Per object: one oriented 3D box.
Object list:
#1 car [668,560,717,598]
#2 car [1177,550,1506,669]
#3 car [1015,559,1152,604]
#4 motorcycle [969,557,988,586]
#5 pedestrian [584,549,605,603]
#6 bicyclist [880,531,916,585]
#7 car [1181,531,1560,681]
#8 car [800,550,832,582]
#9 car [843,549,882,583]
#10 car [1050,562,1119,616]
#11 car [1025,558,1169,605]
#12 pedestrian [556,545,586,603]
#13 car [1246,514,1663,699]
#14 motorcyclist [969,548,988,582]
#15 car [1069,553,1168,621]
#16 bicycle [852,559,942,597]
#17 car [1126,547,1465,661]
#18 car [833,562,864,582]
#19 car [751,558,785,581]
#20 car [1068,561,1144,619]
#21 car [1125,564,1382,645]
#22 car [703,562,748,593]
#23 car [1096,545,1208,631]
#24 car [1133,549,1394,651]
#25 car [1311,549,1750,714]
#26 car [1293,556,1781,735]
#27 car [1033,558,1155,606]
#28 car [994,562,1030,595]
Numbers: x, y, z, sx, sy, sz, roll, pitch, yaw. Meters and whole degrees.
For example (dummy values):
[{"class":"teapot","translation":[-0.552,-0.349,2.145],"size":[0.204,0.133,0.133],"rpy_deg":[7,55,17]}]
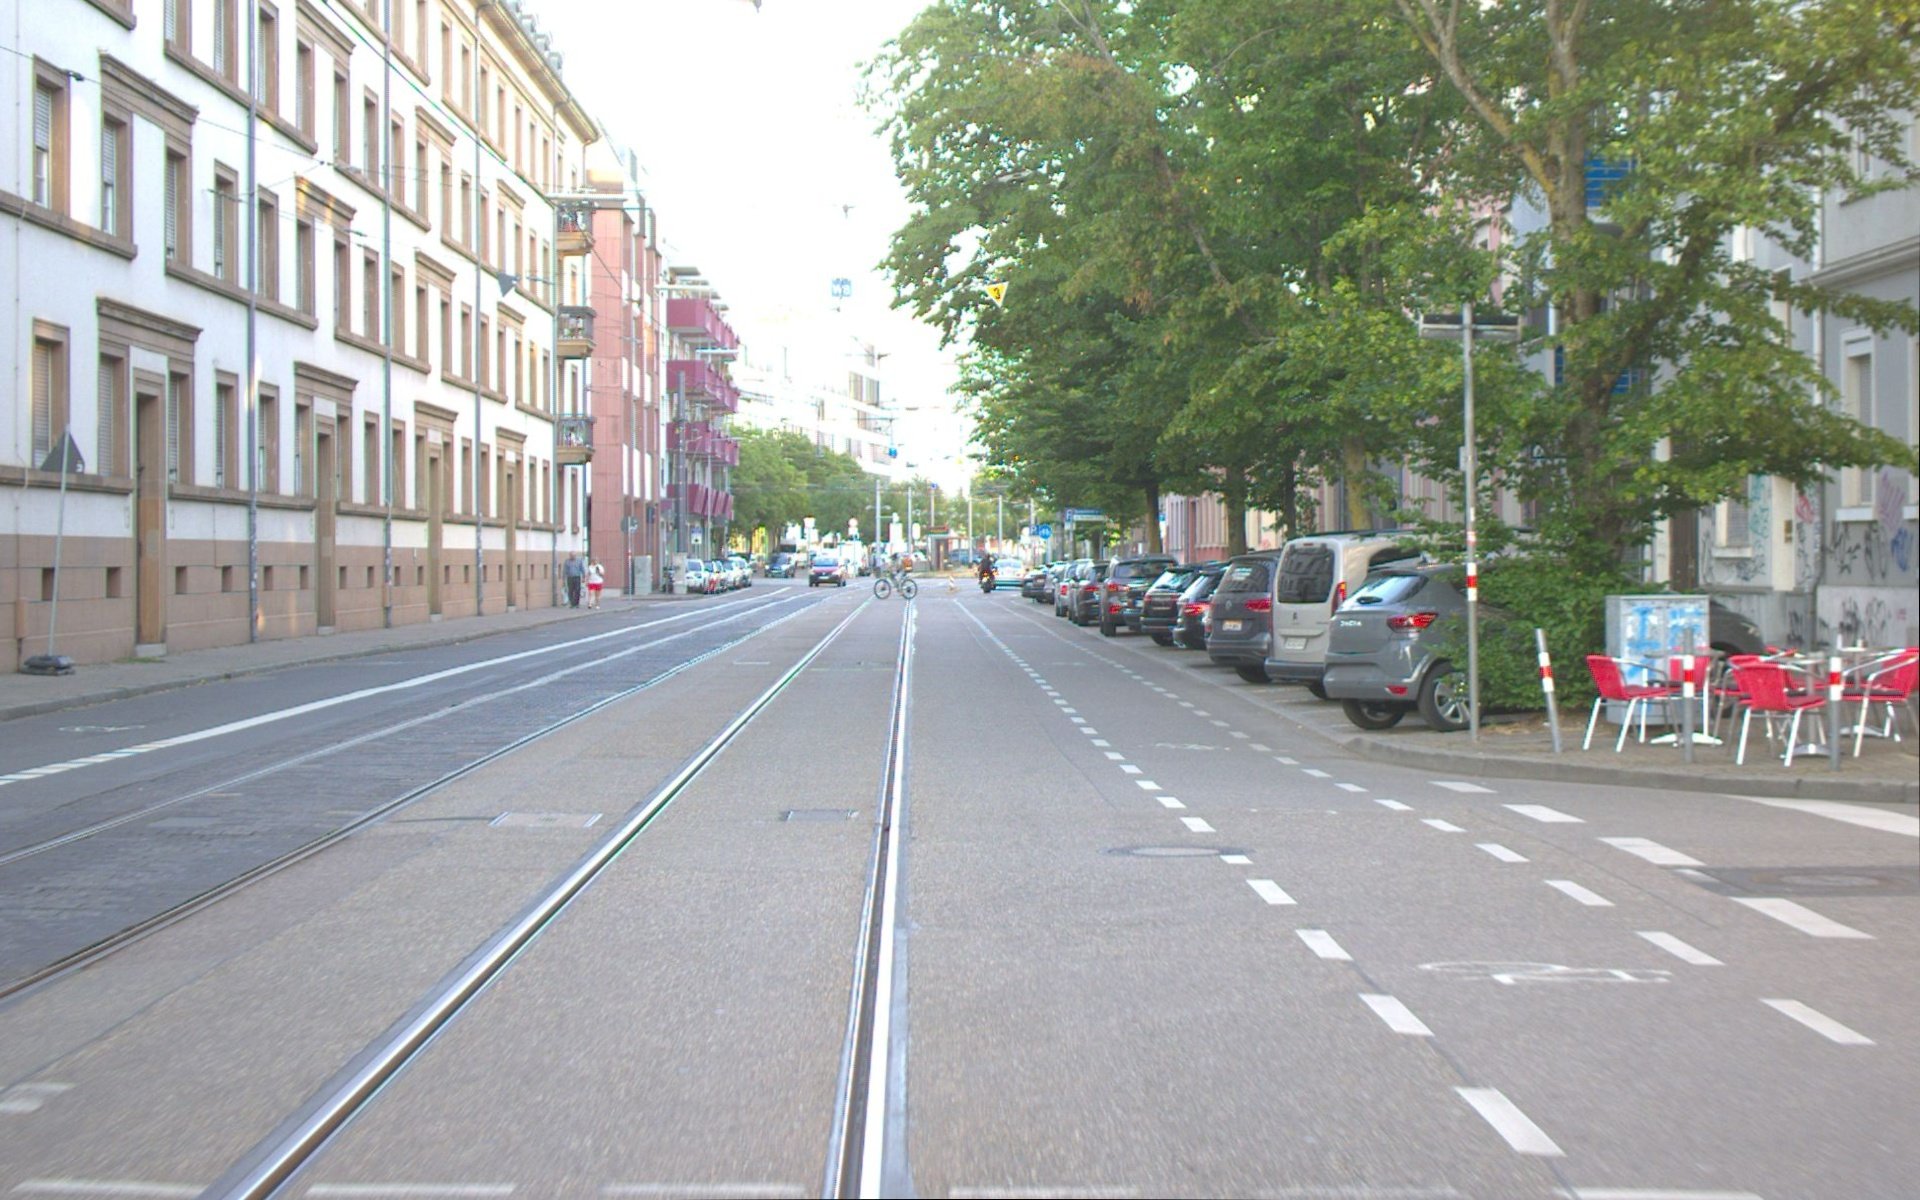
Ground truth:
[{"class":"car","translation":[-11.348,-0.882,146.114],"size":[1.717,1.550,4.204],"rpy_deg":[1,0,0]},{"class":"car","translation":[5.089,0.103,45.941],"size":[3.986,1.459,1.720],"rpy_deg":[-1,1,-18]},{"class":"car","translation":[4.425,-0.656,123.355],"size":[4.604,1.452,1.711],"rpy_deg":[-2,1,-25]},{"class":"motorcycle","translation":[0.819,-1.259,150.734],"size":[0.828,1.236,2.491],"rpy_deg":[0,1,0]},{"class":"pedestrian","translation":[-10.800,-0.709,101.630],"size":[0.590,1.604,0.811],"rpy_deg":[0,0,-3]},{"class":"bicyclist","translation":[-2.288,-1.544,126.198],"size":[1.214,2.007,0.947],"rpy_deg":[0,1,-9]},{"class":"car","translation":[4.996,0.045,41.891],"size":[4.177,1.690,1.847],"rpy_deg":[-1,1,-21]},{"class":"car","translation":[-7.348,-1.740,175.114],"size":[1.559,1.553,3.755],"rpy_deg":[-1,1,-3]},{"class":"car","translation":[-7.207,-2.554,254.690],"size":[2.461,2.474,5.808],"rpy_deg":[0,1,3]},{"class":"car","translation":[3.309,-0.313,92.060],"size":[1.619,1.376,3.776],"rpy_deg":[-2,1,-1]},{"class":"car","translation":[4.673,-0.649,117.392],"size":[4.443,1.511,2.064],"rpy_deg":[-1,1,-23]},{"class":"pedestrian","translation":[-11.511,-0.764,101.734],"size":[0.795,1.696,0.981],"rpy_deg":[0,0,-3]},{"class":"car","translation":[5.272,0.039,36.691],"size":[3.986,1.809,1.825],"rpy_deg":[-2,1,-22]},{"class":"motorcyclist","translation":[0.818,-1.546,150.754],"size":[0.828,1.468,1.207],"rpy_deg":[0,1,0]},{"class":"car","translation":[3.605,-0.308,78.849],"size":[1.993,1.484,5.036],"rpy_deg":[-1,1,0]},{"class":"bicycle","translation":[-2.315,-0.817,126.208],"size":[3.170,1.349,0.958],"rpy_deg":[-1,0,-9]},{"class":"car","translation":[4.685,0.034,48.119],"size":[4.376,1.459,1.720],"rpy_deg":[-1,1,-18]},{"class":"car","translation":[-8.069,-2.053,248.963],"size":[1.683,1.434,4.125],"rpy_deg":[0,1,7]},{"class":"car","translation":[-13.992,-2.235,250.605],"size":[1.683,1.694,4.238],"rpy_deg":[0,1,8]},{"class":"car","translation":[3.651,-0.273,86.485],"size":[1.780,1.376,4.691],"rpy_deg":[-2,1,2]},{"class":"car","translation":[5.145,0.058,60.098],"size":[4.248,1.383,1.621],"rpy_deg":[0,1,-26]},{"class":"car","translation":[-11.332,-1.095,166.313],"size":[1.691,1.409,4.677],"rpy_deg":[2,0,2]},{"class":"car","translation":[3.837,-0.257,69.334],"size":[1.879,1.612,4.262],"rpy_deg":[-2,1,-1]},{"class":"car","translation":[5.047,-0.019,57.198],"size":[3.960,1.548,1.720],"rpy_deg":[-1,2,-18]},{"class":"car","translation":[5.662,0.281,34.142],"size":[3.986,1.561,1.720],"rpy_deg":[0,1,-22]},{"class":"car","translation":[5.198,0.374,31.047],"size":[3.986,1.535,1.780],"rpy_deg":[0,1,-20]},{"class":"car","translation":[4.377,-0.596,112.213],"size":[3.554,1.511,1.744],"rpy_deg":[-1,1,-25]},{"class":"car","translation":[2.525,-1.060,166.938],"size":[1.717,1.550,4.204],"rpy_deg":[1,1,1]}]
